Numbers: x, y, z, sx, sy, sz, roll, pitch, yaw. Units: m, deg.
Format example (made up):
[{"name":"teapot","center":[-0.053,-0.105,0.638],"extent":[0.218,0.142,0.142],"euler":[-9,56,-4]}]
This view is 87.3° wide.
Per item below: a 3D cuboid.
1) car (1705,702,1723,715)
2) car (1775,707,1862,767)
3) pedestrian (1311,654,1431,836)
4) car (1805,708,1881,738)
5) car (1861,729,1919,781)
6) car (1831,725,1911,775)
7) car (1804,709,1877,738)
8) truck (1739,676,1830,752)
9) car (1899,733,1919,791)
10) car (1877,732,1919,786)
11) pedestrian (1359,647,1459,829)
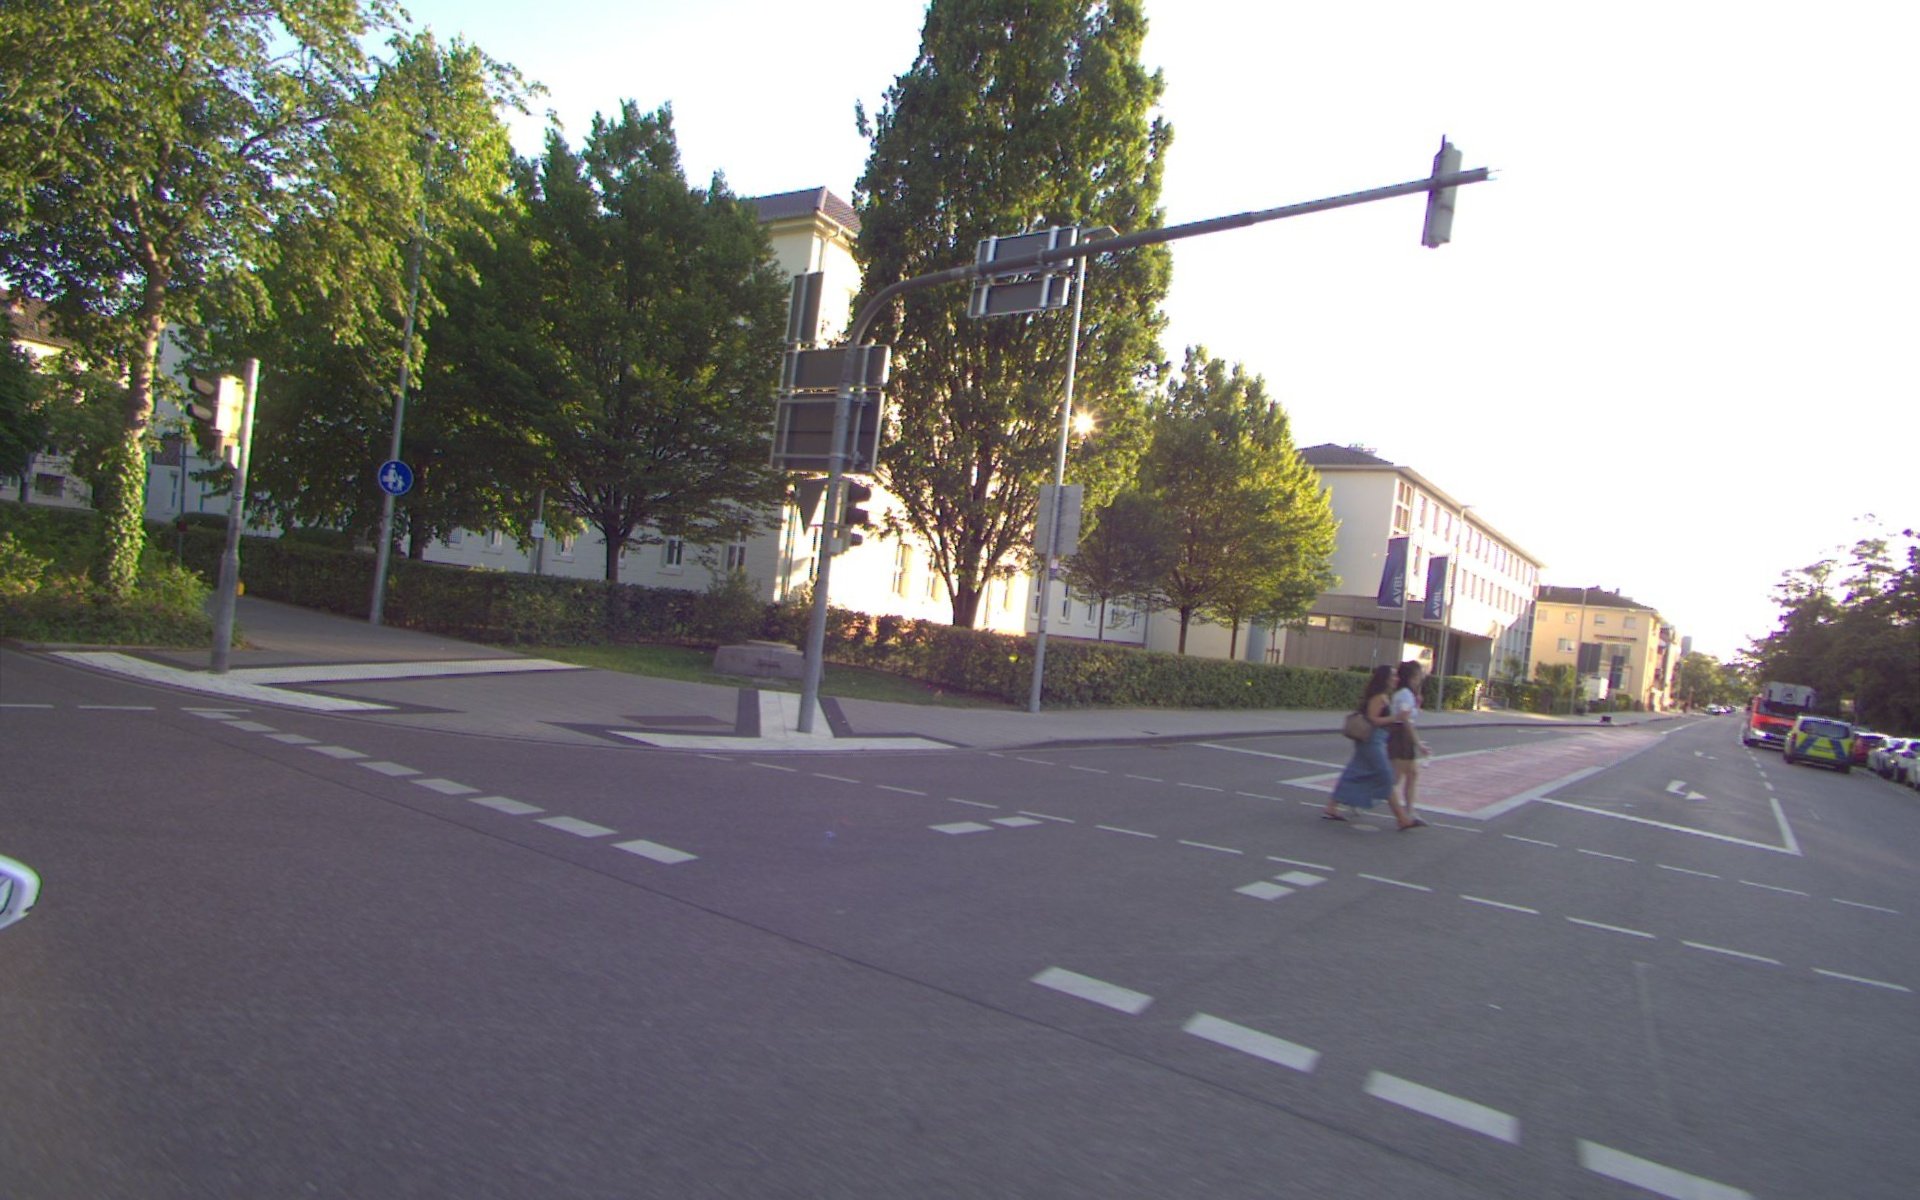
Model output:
[{"name":"car","center":[132.642,19.127,176.941],"extent":[1.973,2.038,3.980],"euler":[7,-1,42]},{"name":"car","center":[33.322,5.344,39.156],"extent":[2.024,1.883,4.487],"euler":[7,-3,36]},{"name":"pedestrian","center":[4.133,1.423,10.114],"extent":[0.831,1.642,0.681],"euler":[7,1,32]},{"name":"car","center":[63.455,8.828,72.369],"extent":[3.750,1.801,1.931],"euler":[2,-5,32]},{"name":"car","center":[36.617,6.033,38.975],"extent":[1.969,1.659,3.988],"euler":[6,-1,36]},{"name":"car","center":[39.462,6.469,43.676],"extent":[1.969,1.659,3.988],"euler":[6,-1,36]},{"name":"car","center":[65.139,9.133,74.469],"extent":[3.750,1.801,1.931],"euler":[2,-5,32]},{"name":"truck","center":[41.679,5.714,51.130],"extent":[2.600,3.177,10.245],"euler":[6,-1,36]},{"name":"car","center":[30.869,5.162,31.390],"extent":[1.873,1.659,3.984],"euler":[6,-1,39]},{"name":"car","center":[33.610,5.616,35.073],"extent":[1.970,1.631,3.985],"euler":[6,-1,38]},{"name":"pedestrian","center":[4.765,1.438,10.670],"extent":[0.677,1.776,0.681],"euler":[7,1,32]}]
